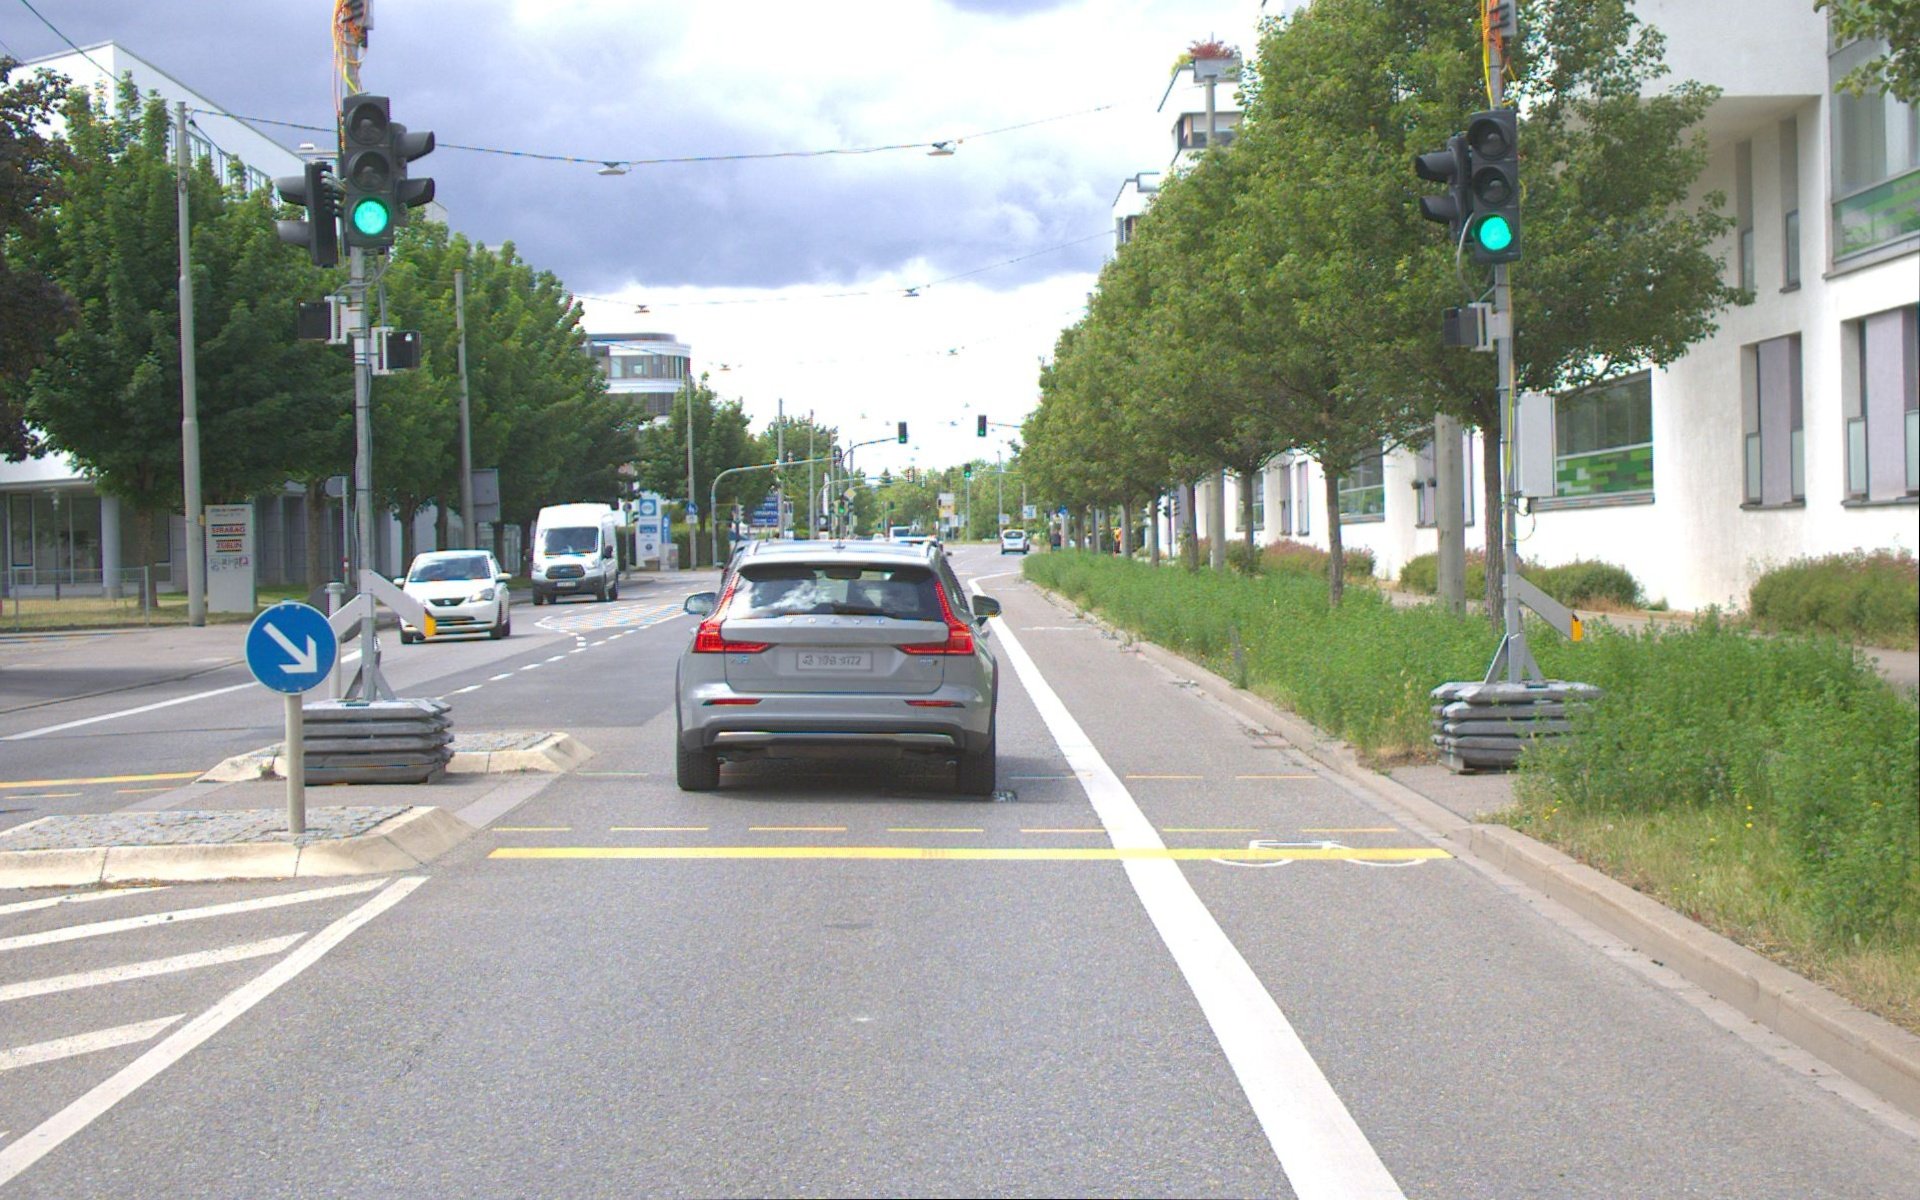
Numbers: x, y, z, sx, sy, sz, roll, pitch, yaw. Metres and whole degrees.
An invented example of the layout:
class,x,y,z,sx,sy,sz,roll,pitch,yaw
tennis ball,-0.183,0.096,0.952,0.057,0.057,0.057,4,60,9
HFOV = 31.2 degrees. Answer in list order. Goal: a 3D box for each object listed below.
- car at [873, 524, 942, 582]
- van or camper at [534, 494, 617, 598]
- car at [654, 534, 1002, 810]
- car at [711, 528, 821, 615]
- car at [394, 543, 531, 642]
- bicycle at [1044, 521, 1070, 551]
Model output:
class,x,y,z,sx,sy,sz,roll,pitch,yaw
car,-1.441,-1.297,93.906,1.845,1.508,4.000,-1,1,-1
van or camper,-10.678,-1.512,95.800,1.993,2.724,6.054,-2,1,-5
car,-0.708,0.359,21.001,1.854,1.508,4.000,0,1,2
car,-3.552,-0.547,63.416,1.854,1.508,4.000,-1,1,-1
car,-8.144,-0.154,56.558,1.661,1.510,4.000,-1,1,-1
bicycle,4.826,-3.195,171.508,1.067,1.448,2.978,-3,1,-1
